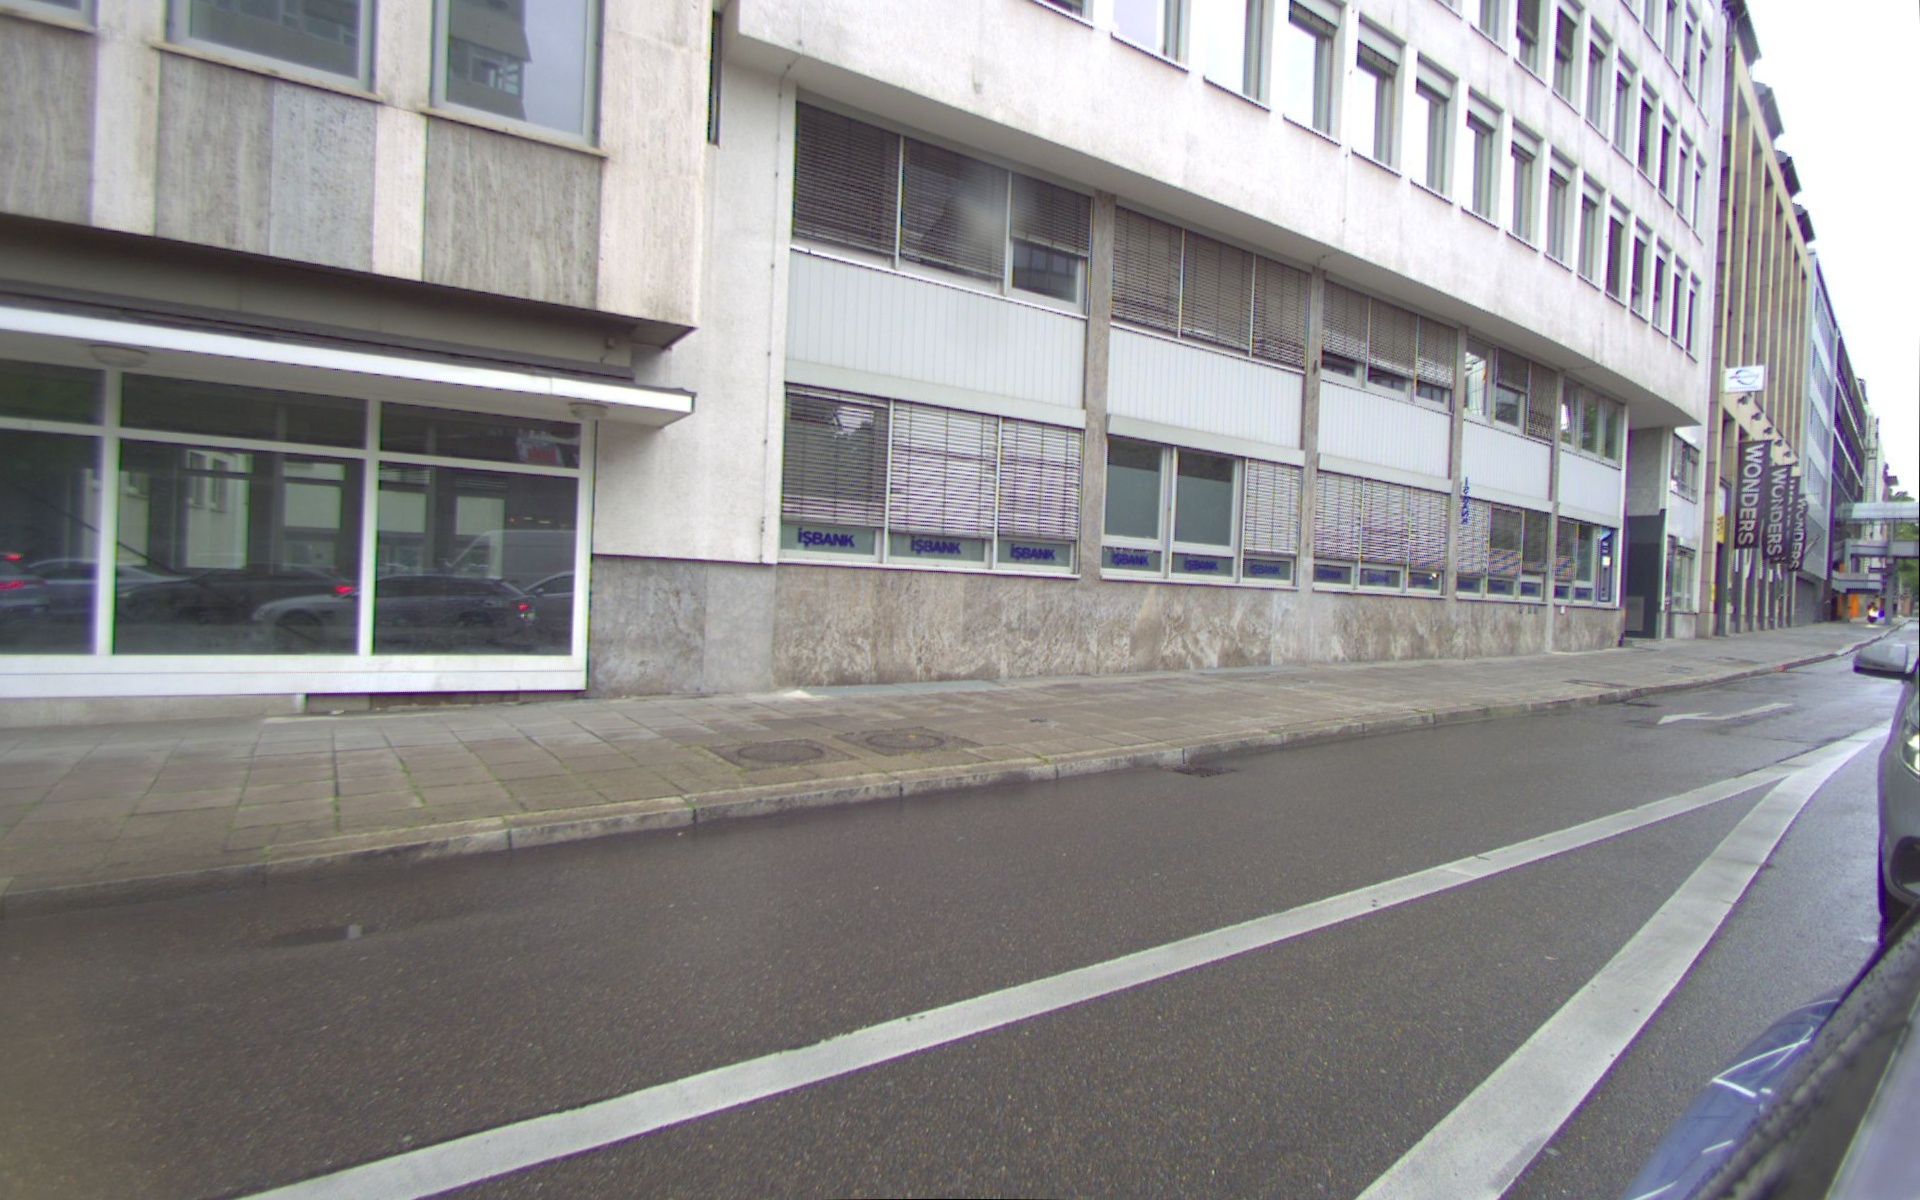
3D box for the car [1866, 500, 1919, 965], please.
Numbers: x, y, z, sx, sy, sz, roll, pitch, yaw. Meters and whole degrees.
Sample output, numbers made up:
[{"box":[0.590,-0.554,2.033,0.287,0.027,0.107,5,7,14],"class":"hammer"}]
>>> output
[{"box":[6.232,0.549,5.155,4.940,1.879,1.914,0,0,-42],"class":"car"}]
